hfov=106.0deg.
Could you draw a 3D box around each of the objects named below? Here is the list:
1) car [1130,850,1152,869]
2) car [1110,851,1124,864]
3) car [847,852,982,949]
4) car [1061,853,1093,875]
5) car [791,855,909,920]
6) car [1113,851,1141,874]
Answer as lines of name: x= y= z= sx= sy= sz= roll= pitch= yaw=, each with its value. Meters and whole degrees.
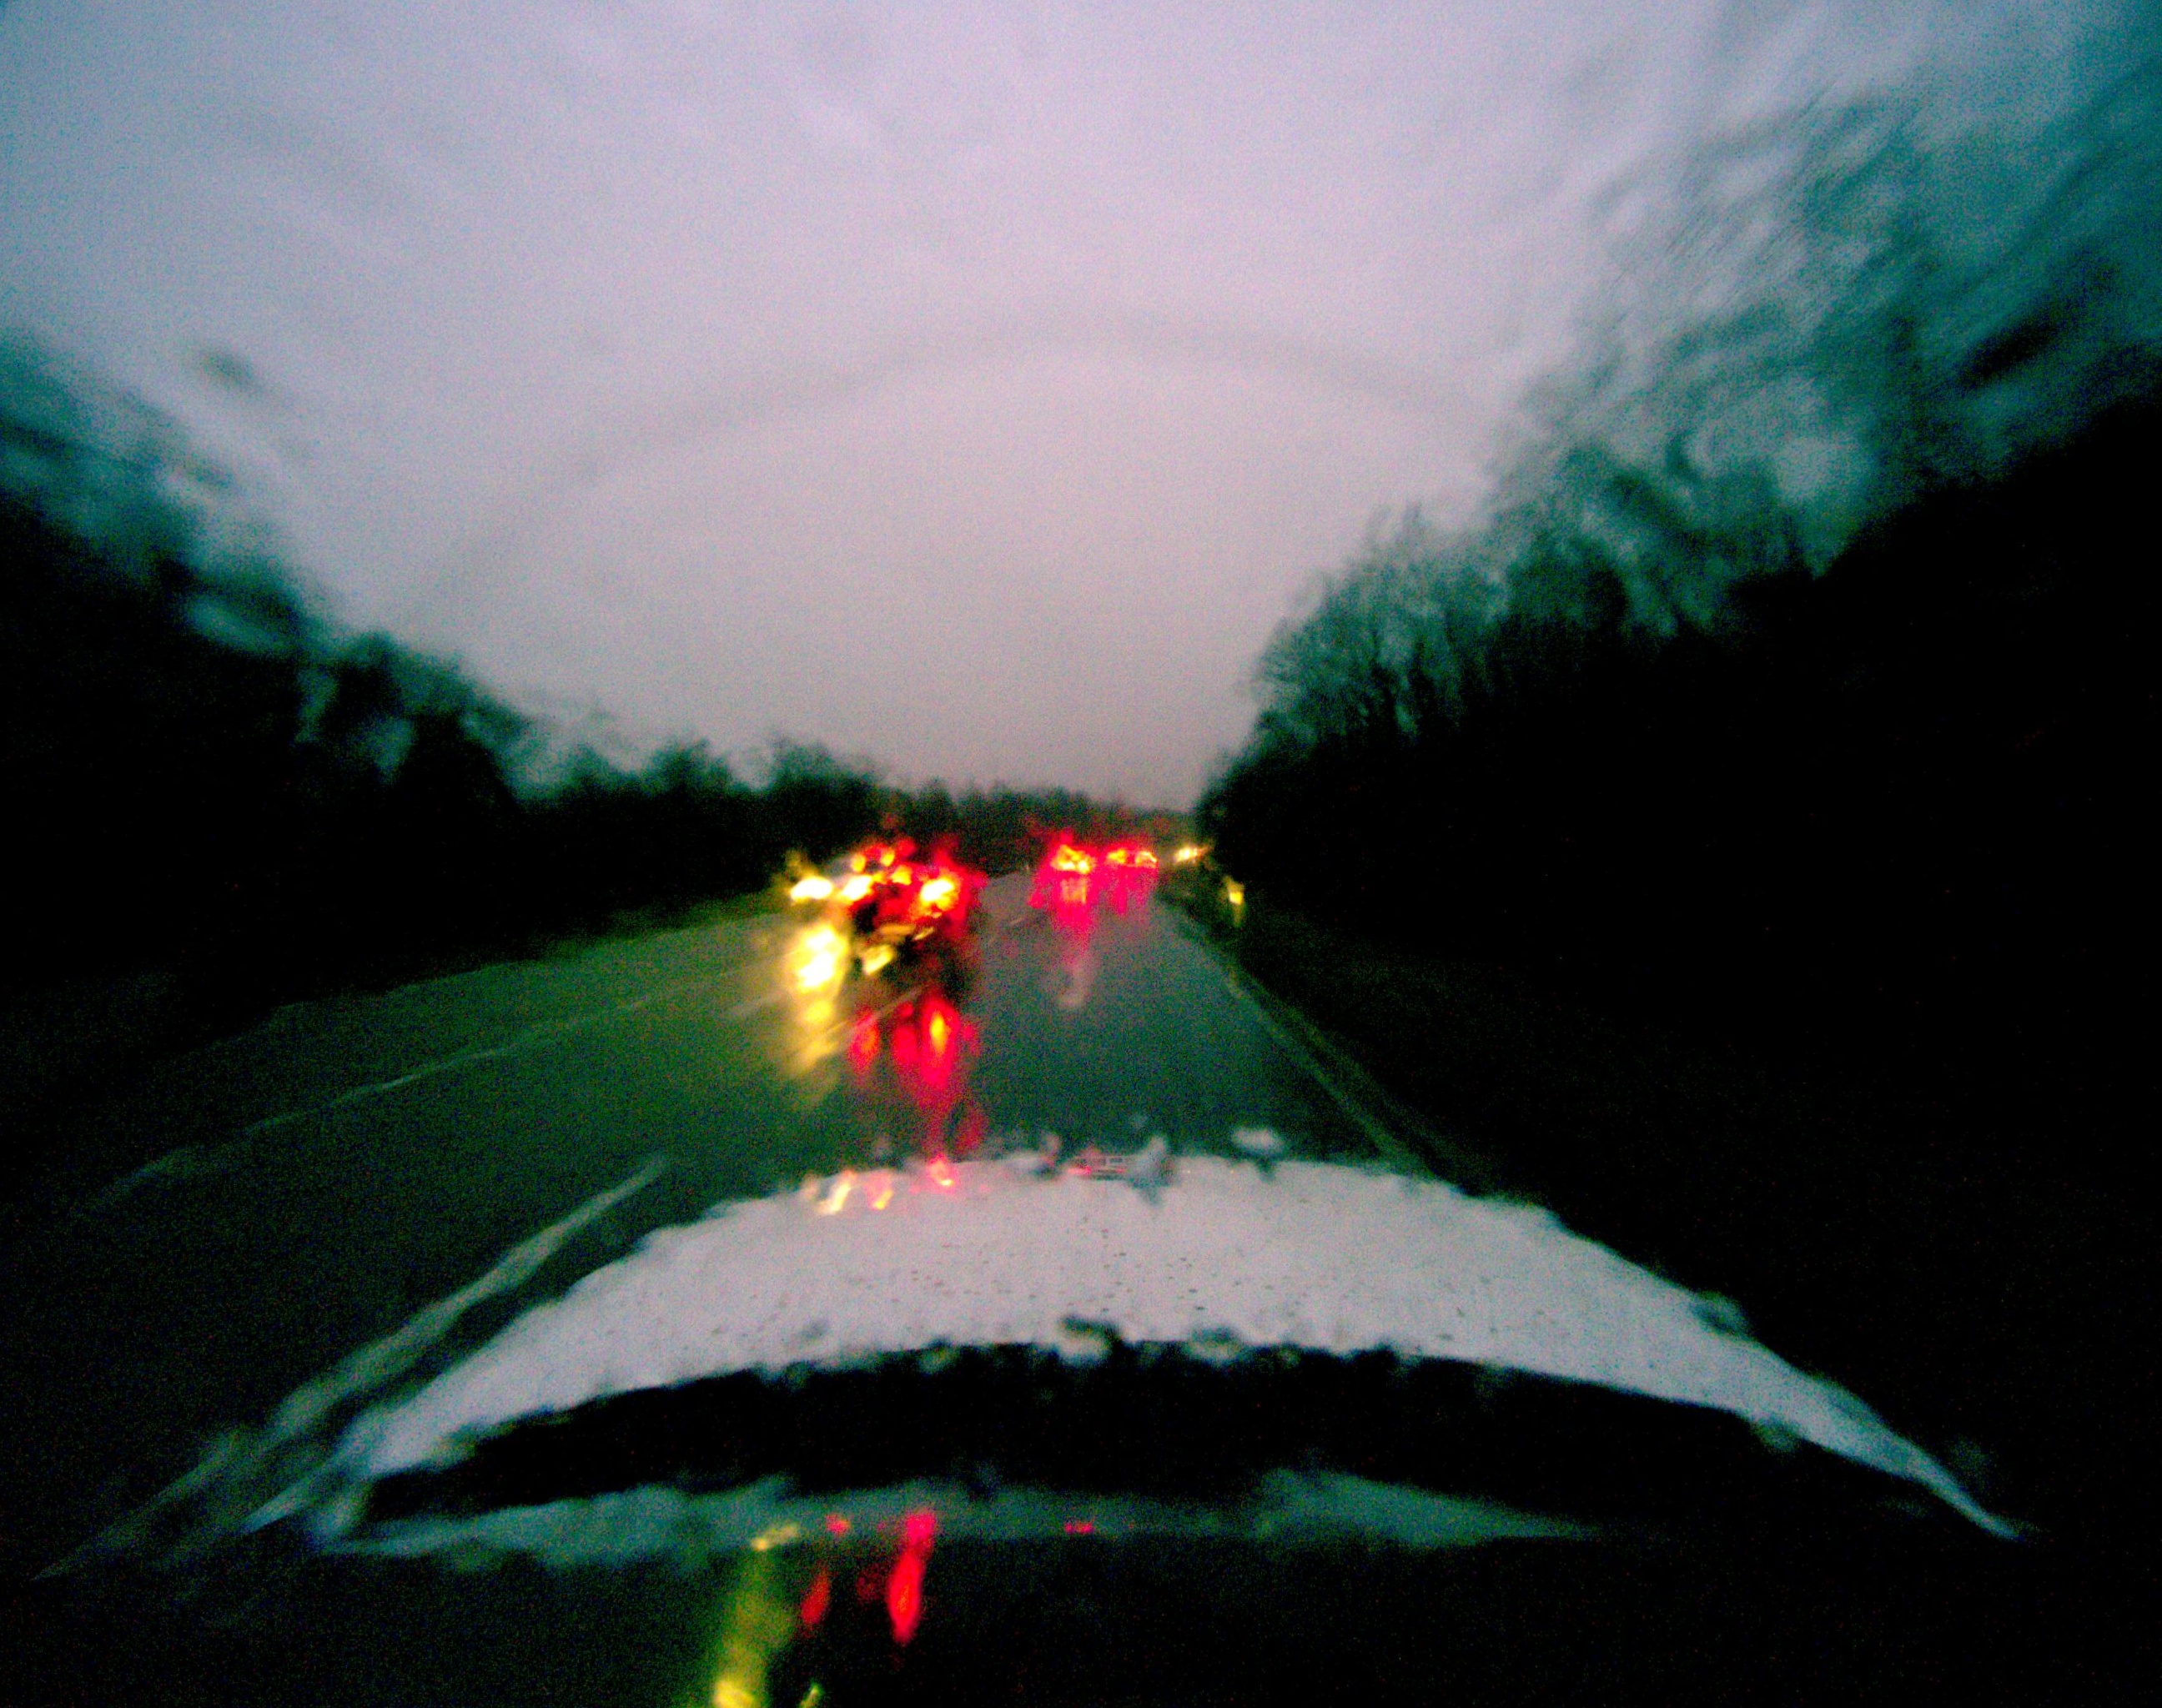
car: x=5.864 y=0.527 z=79.220 sx=1.669 sy=1.675 sz=4.109 roll=-1 pitch=1 yaw=9
car: x=4.566 y=0.439 z=103.009 sx=1.705 sy=1.627 sz=4.223 roll=0 pitch=1 yaw=4
car: x=-2.699 y=0.684 z=14.038 sx=1.628 sy=1.421 sz=4.167 roll=1 pitch=0 yaw=-3
car: x=-0.270 y=0.724 z=60.978 sx=1.996 sy=1.556 sz=4.522 roll=0 pitch=0 yaw=4
car: x=-6.443 y=0.865 z=23.291 sx=1.987 sy=1.649 sz=4.722 roll=-1 pitch=0 yaw=0
car: x=3.194 y=0.554 z=55.854 sx=1.670 sy=1.389 sz=4.106 roll=-1 pitch=1 yaw=6
